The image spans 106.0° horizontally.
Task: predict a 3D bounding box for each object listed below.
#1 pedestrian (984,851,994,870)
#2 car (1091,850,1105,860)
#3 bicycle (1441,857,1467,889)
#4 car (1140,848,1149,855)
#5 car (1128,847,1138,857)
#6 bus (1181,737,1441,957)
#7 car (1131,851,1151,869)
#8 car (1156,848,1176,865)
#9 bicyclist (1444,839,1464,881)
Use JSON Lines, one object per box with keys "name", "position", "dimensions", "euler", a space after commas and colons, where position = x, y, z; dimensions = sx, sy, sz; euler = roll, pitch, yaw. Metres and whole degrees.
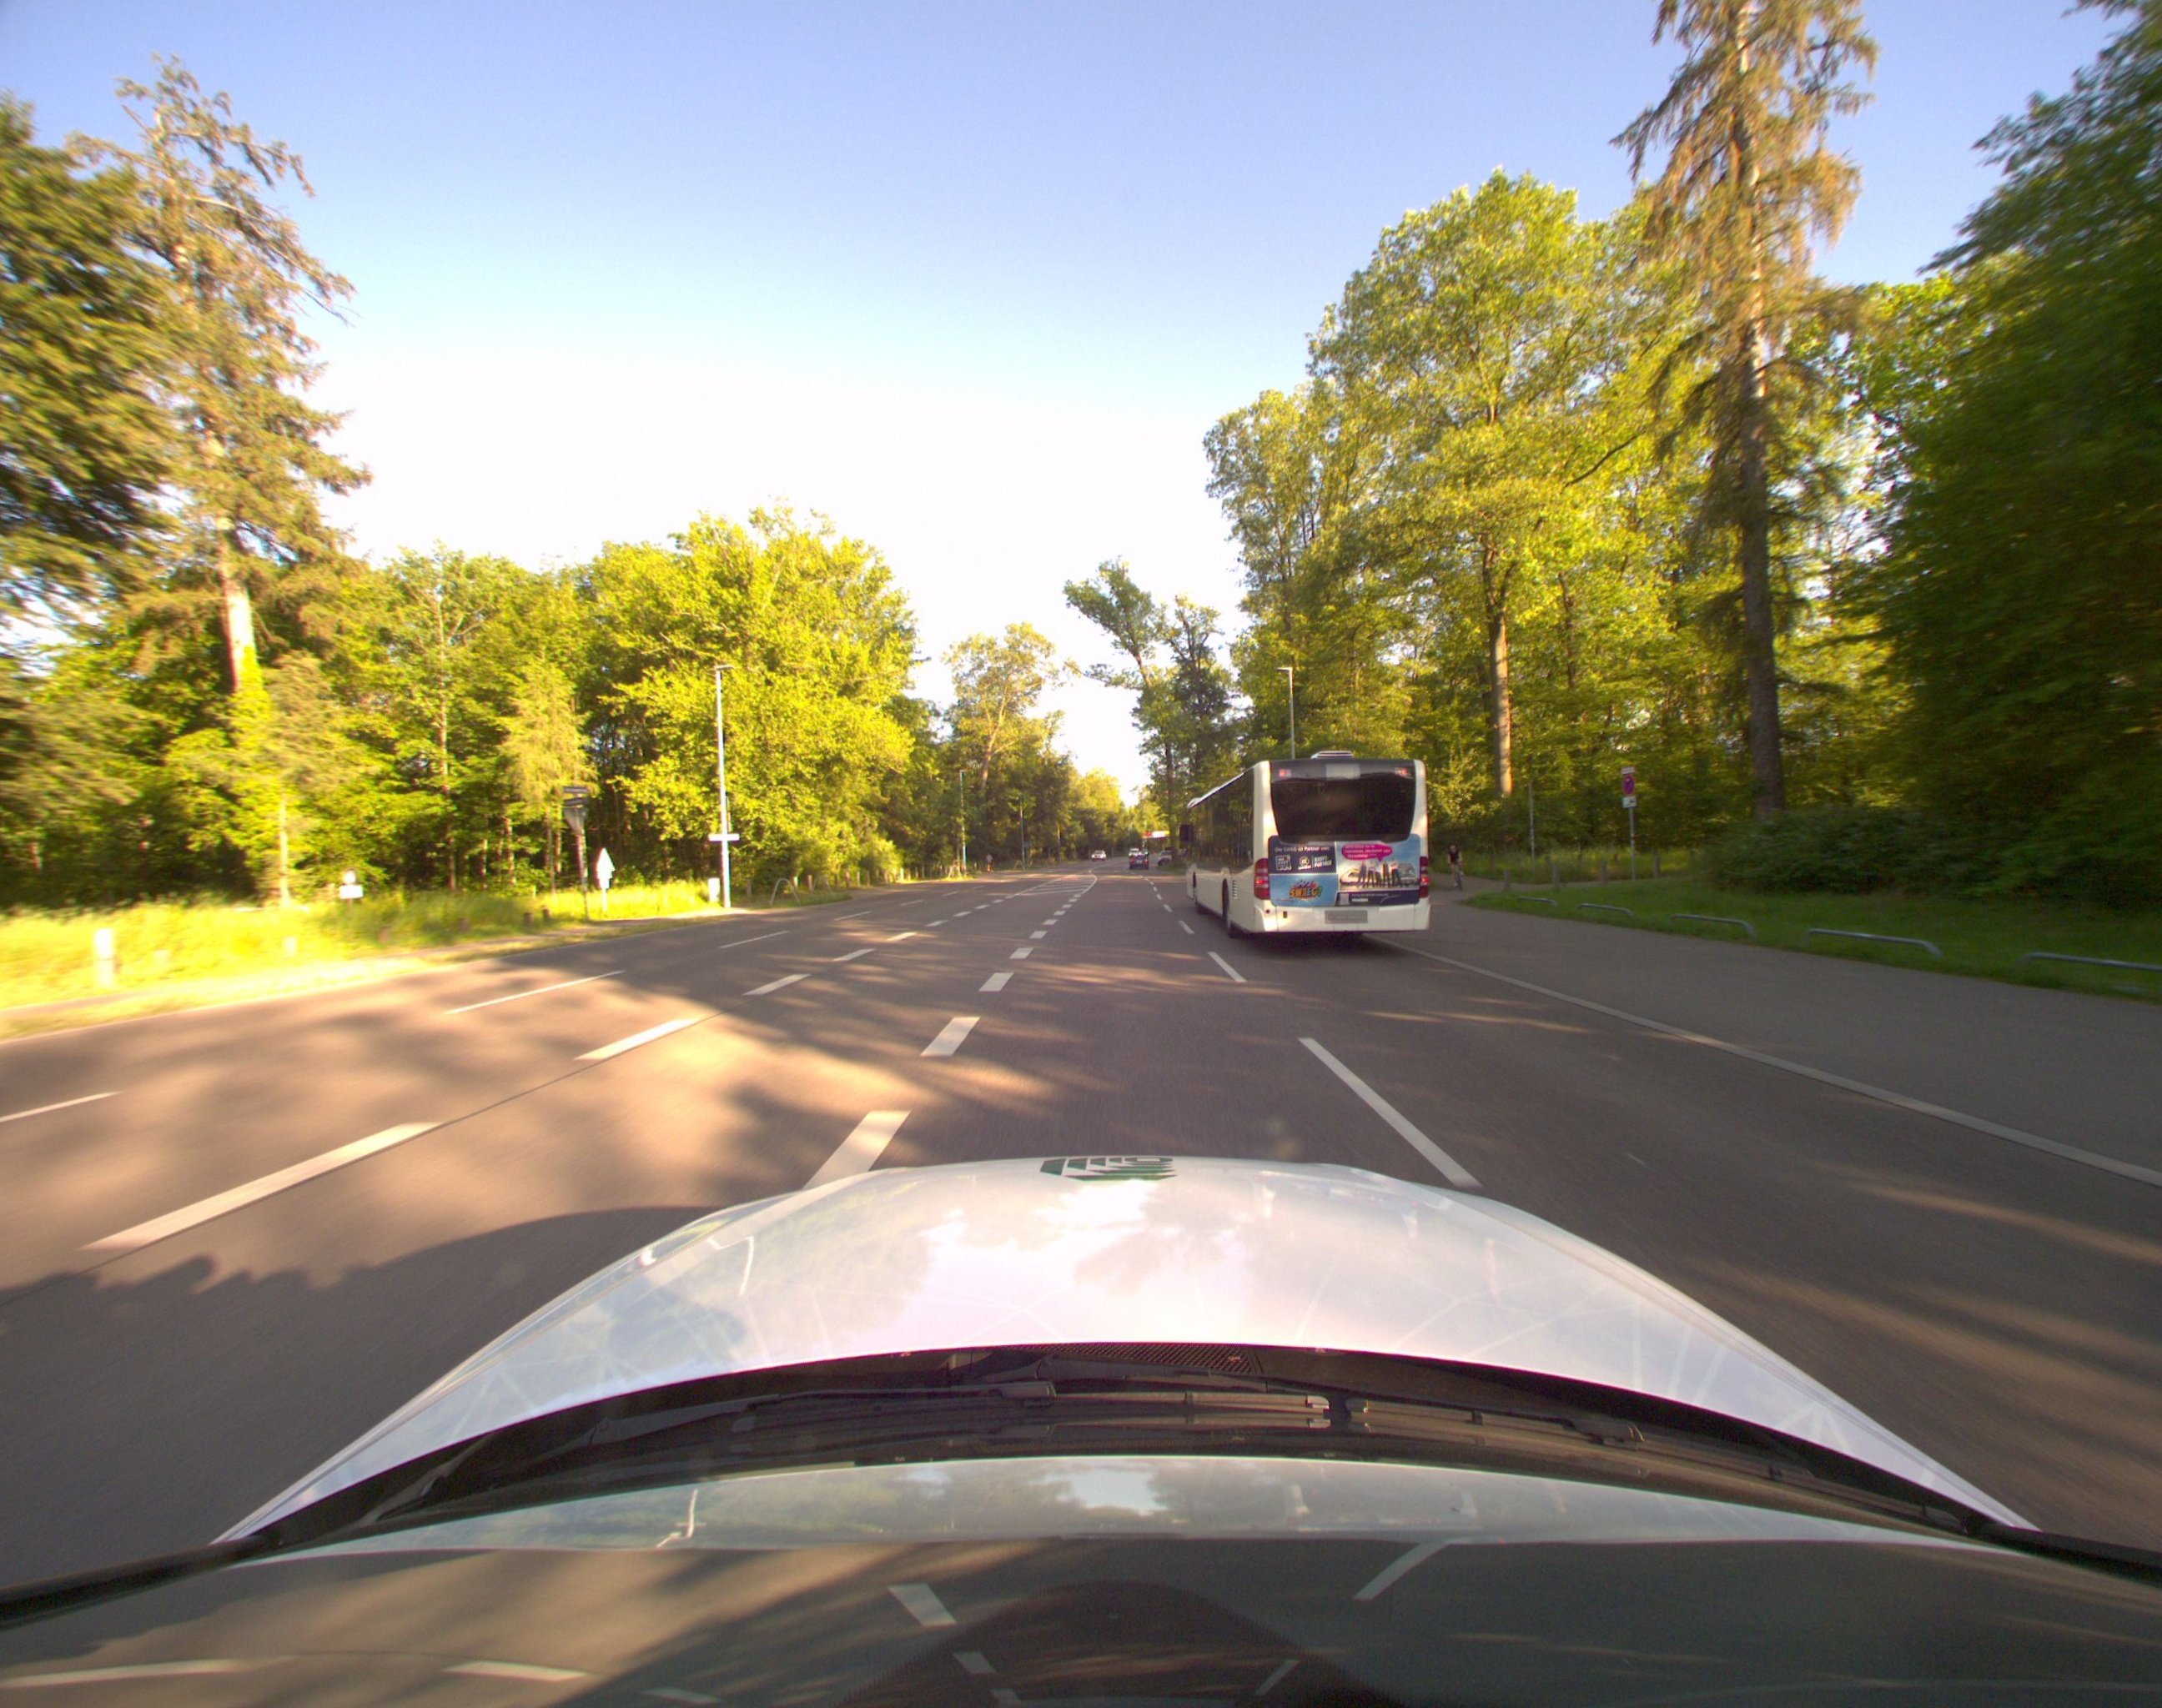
{"name": "pedestrian", "position": [-8.601, 0.592, 75.979], "dimensions": [0.776, 1.812, 0.770], "euler": [-2, 0, 2]}
{"name": "car", "position": [2.660, 0.183, 127.163], "dimensions": [1.853, 1.537, 4.139], "euler": [-1, 0, 6]}
{"name": "bicycle", "position": [12.622, 0.636, 27.559], "dimensions": [0.546, 0.967, 1.765], "euler": [-1, 2, 16]}
{"name": "car", "position": [13.745, -0.518, 177.437], "dimensions": [1.854, 1.565, 4.005], "euler": [-2, 0, 4]}
{"name": "car", "position": [9.788, -0.374, 153.272], "dimensions": [1.855, 1.729, 4.003], "euler": [-1, 0, 3]}
{"name": "bus", "position": [3.953, -0.068, 17.458], "dimensions": [2.679, 3.042, 12.049], "euler": [-1, 0, 3]}
{"name": "car", "position": [5.474, 0.530, 74.322], "dimensions": [1.623, 1.547, 4.139], "euler": [-1, 0, 6]}
{"name": "car", "position": [8.807, 0.291, 84.268], "dimensions": [1.621, 1.658, 4.145], "euler": [-1, 0, 12]}
{"name": "bicyclist", "position": [12.639, 0.204, 27.601], "dimensions": [0.475, 1.385, 0.882], "euler": [-1, -1, 16]}
